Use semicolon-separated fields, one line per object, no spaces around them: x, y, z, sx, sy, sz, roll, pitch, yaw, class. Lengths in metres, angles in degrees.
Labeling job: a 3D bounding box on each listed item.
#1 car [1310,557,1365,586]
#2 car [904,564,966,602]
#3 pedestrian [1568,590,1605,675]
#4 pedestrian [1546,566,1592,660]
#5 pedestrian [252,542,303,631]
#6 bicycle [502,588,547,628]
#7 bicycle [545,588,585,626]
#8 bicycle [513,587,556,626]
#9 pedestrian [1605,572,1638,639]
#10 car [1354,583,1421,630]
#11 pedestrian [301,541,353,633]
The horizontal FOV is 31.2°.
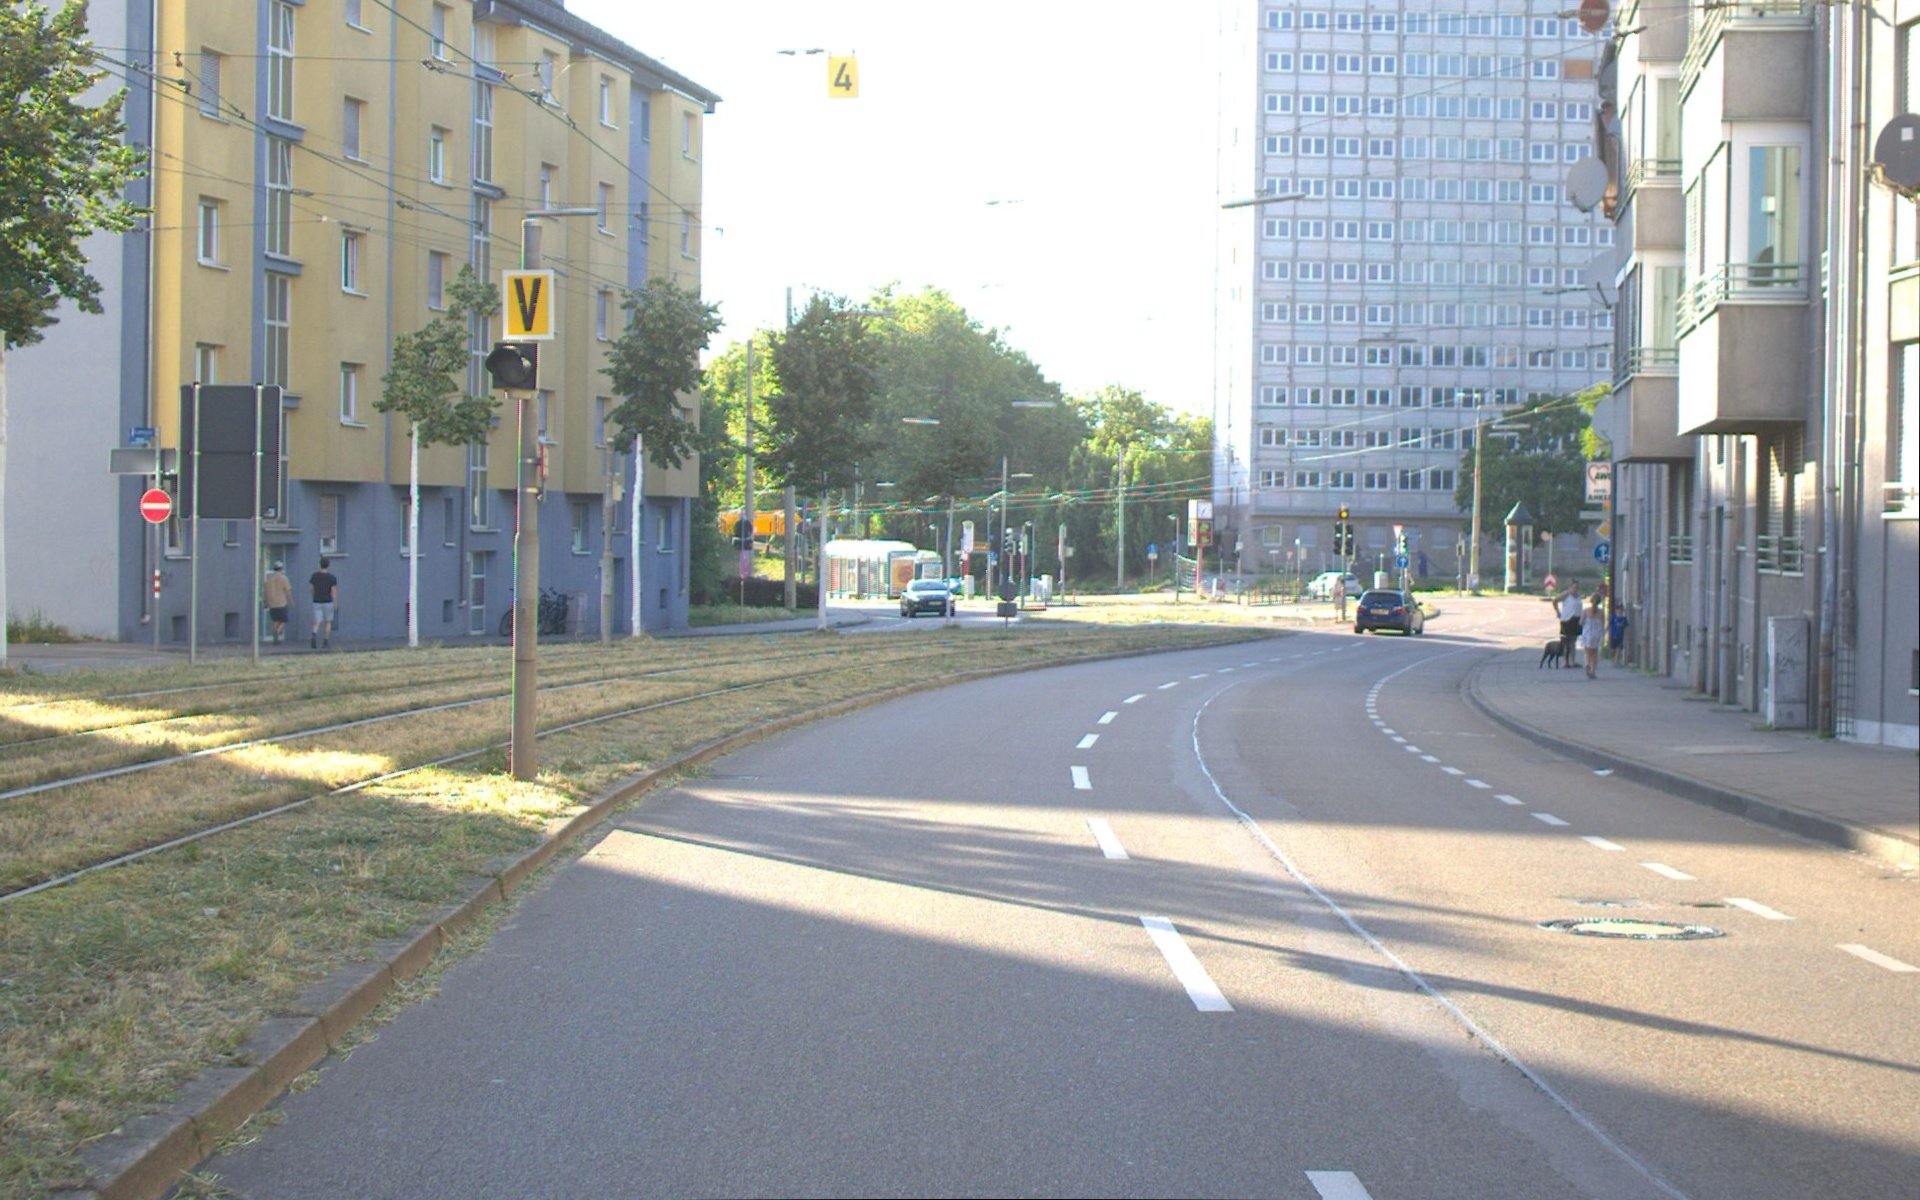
20.508;-1.557;187.049;1.993;1.525;4.001;1;1;-8;car
-0.991;-0.675;139.096;1.794;1.464;4.794;0;-1;9;car
9.982;0.521;54.795;0.514;1.340;0.609;1;-1;6;pedestrian
11.603;0.234;65.503;0.830;1.766;0.995;1;1;10;pedestrian
-13.577;-0.270;68.374;0.616;1.688;0.706;6;1;10;pedestrian
-10.682;0.190;84.335;0.427;0.922;1.911;5;1;11;bicycle
-10.126;0.181;88.127;0.427;0.956;1.911;2;0;11;bicycle
-10.590;0.154;85.612;0.427;0.922;1.911;5;1;11;bicycle
12.516;0.108;65.041;0.587;1.247;0.584;1;1;10;pedestrian
13.471;0.189;108.106;1.773;1.417;3.854;1;1;12;car
-12.678;-0.263;68.851;0.593;1.767;0.885;6;1;10;pedestrian
